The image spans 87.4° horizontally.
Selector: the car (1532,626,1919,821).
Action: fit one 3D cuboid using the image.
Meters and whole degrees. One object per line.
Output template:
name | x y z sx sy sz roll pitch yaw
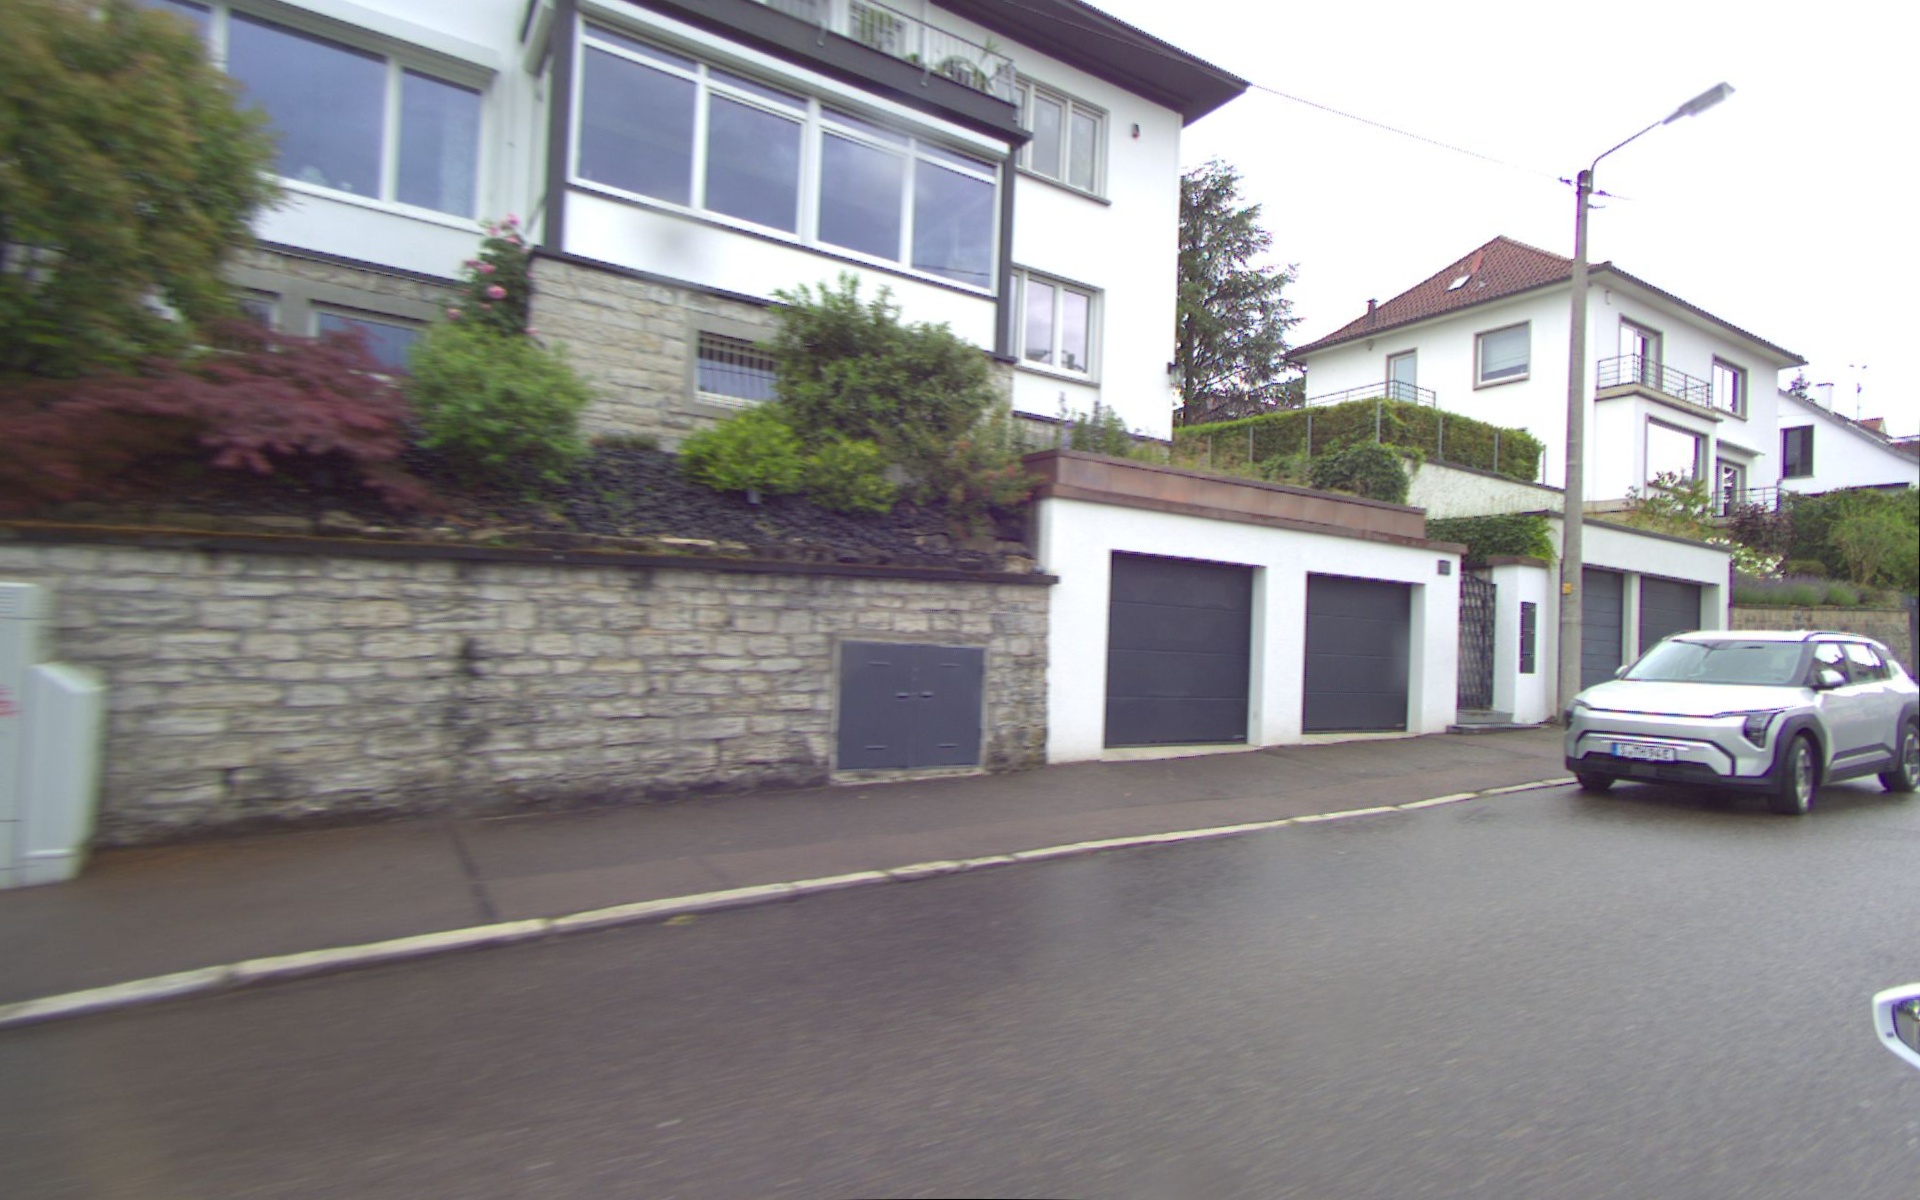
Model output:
car | 7.854 1.067 10.116 4.190 1.588 1.888 1 -2 -32
